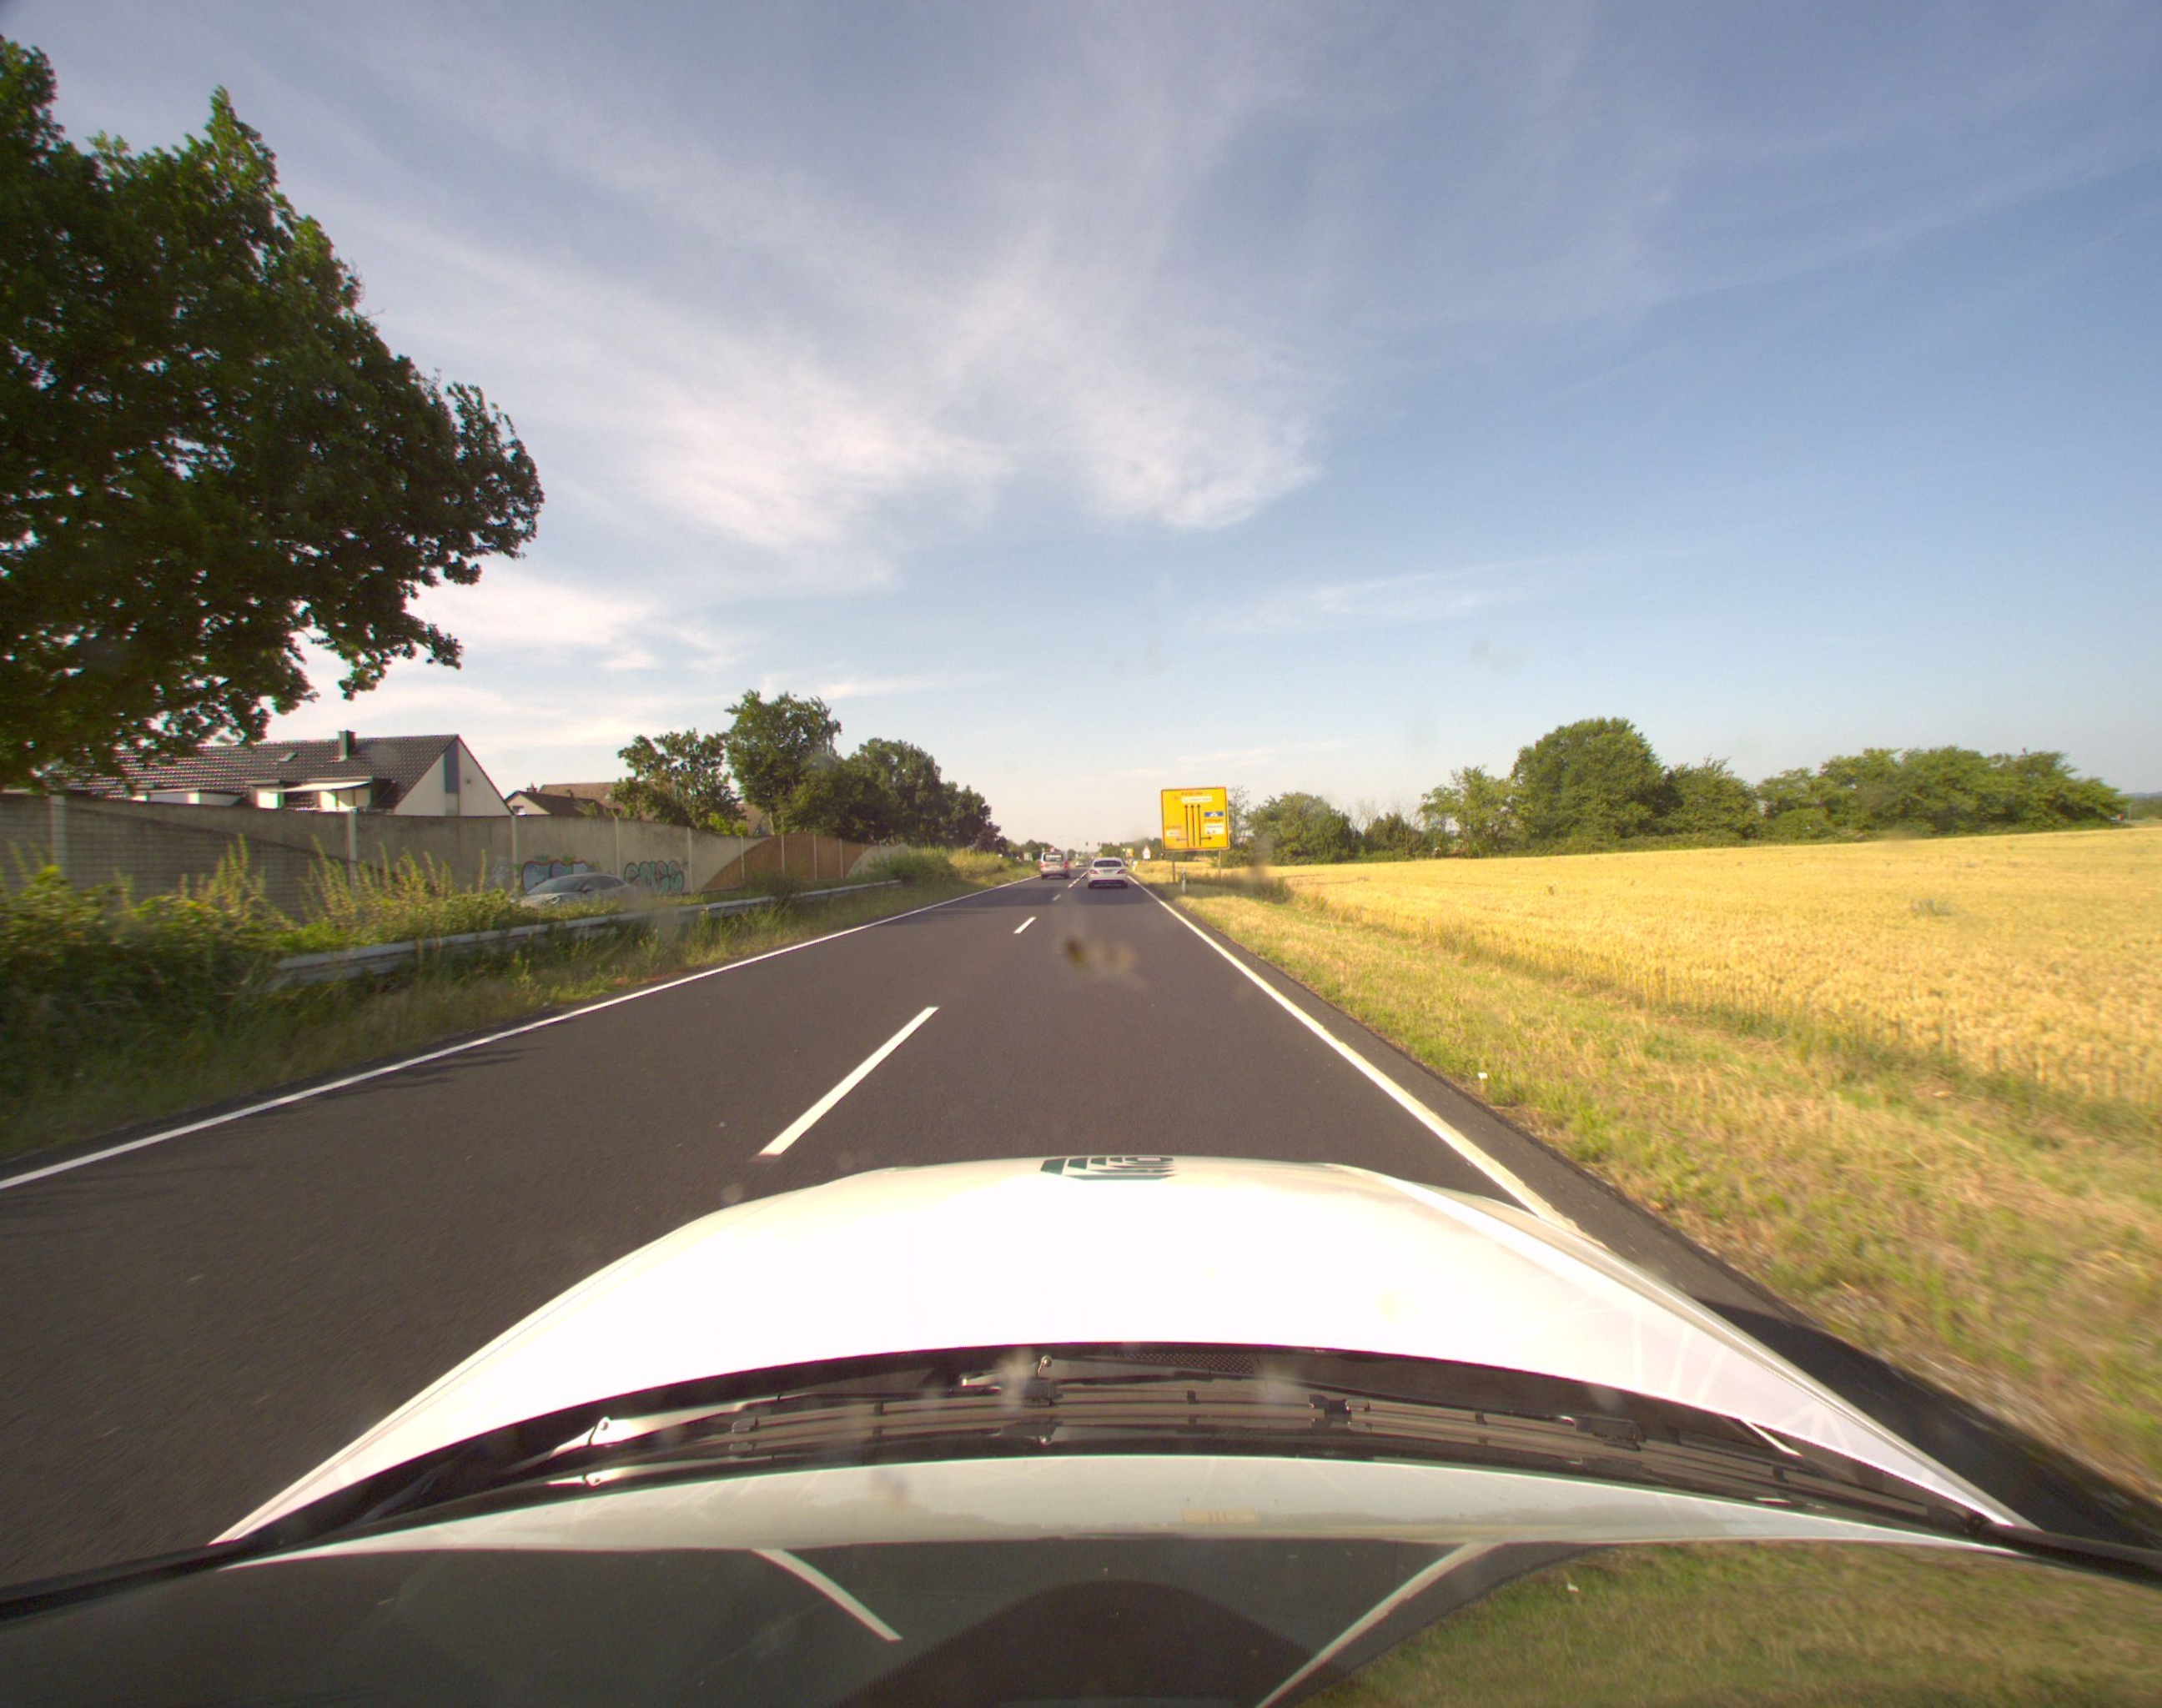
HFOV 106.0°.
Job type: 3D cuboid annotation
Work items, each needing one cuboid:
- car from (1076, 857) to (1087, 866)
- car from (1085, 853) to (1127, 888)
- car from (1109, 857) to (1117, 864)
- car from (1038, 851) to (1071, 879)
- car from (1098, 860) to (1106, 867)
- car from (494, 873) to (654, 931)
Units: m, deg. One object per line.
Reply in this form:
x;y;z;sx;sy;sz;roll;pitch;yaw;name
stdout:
0.065;1.218;139.356;1.711;1.492;3.585;0;0;1;car
1.160;0.760;38.954;1.888;1.509;4.000;-1;0;1;car
7.125;1.523;180.691;1.747;1.517;4.001;-2;0;2;car
-1.799;0.725;56.799;2.017;1.892;4.960;0;0;2;car
5.458;2.560;213.991;1.831;1.684;4.004;-1;0;3;car
-13.824;1.244;22.558;1.642;1.361;4.290;1;0;1;car
